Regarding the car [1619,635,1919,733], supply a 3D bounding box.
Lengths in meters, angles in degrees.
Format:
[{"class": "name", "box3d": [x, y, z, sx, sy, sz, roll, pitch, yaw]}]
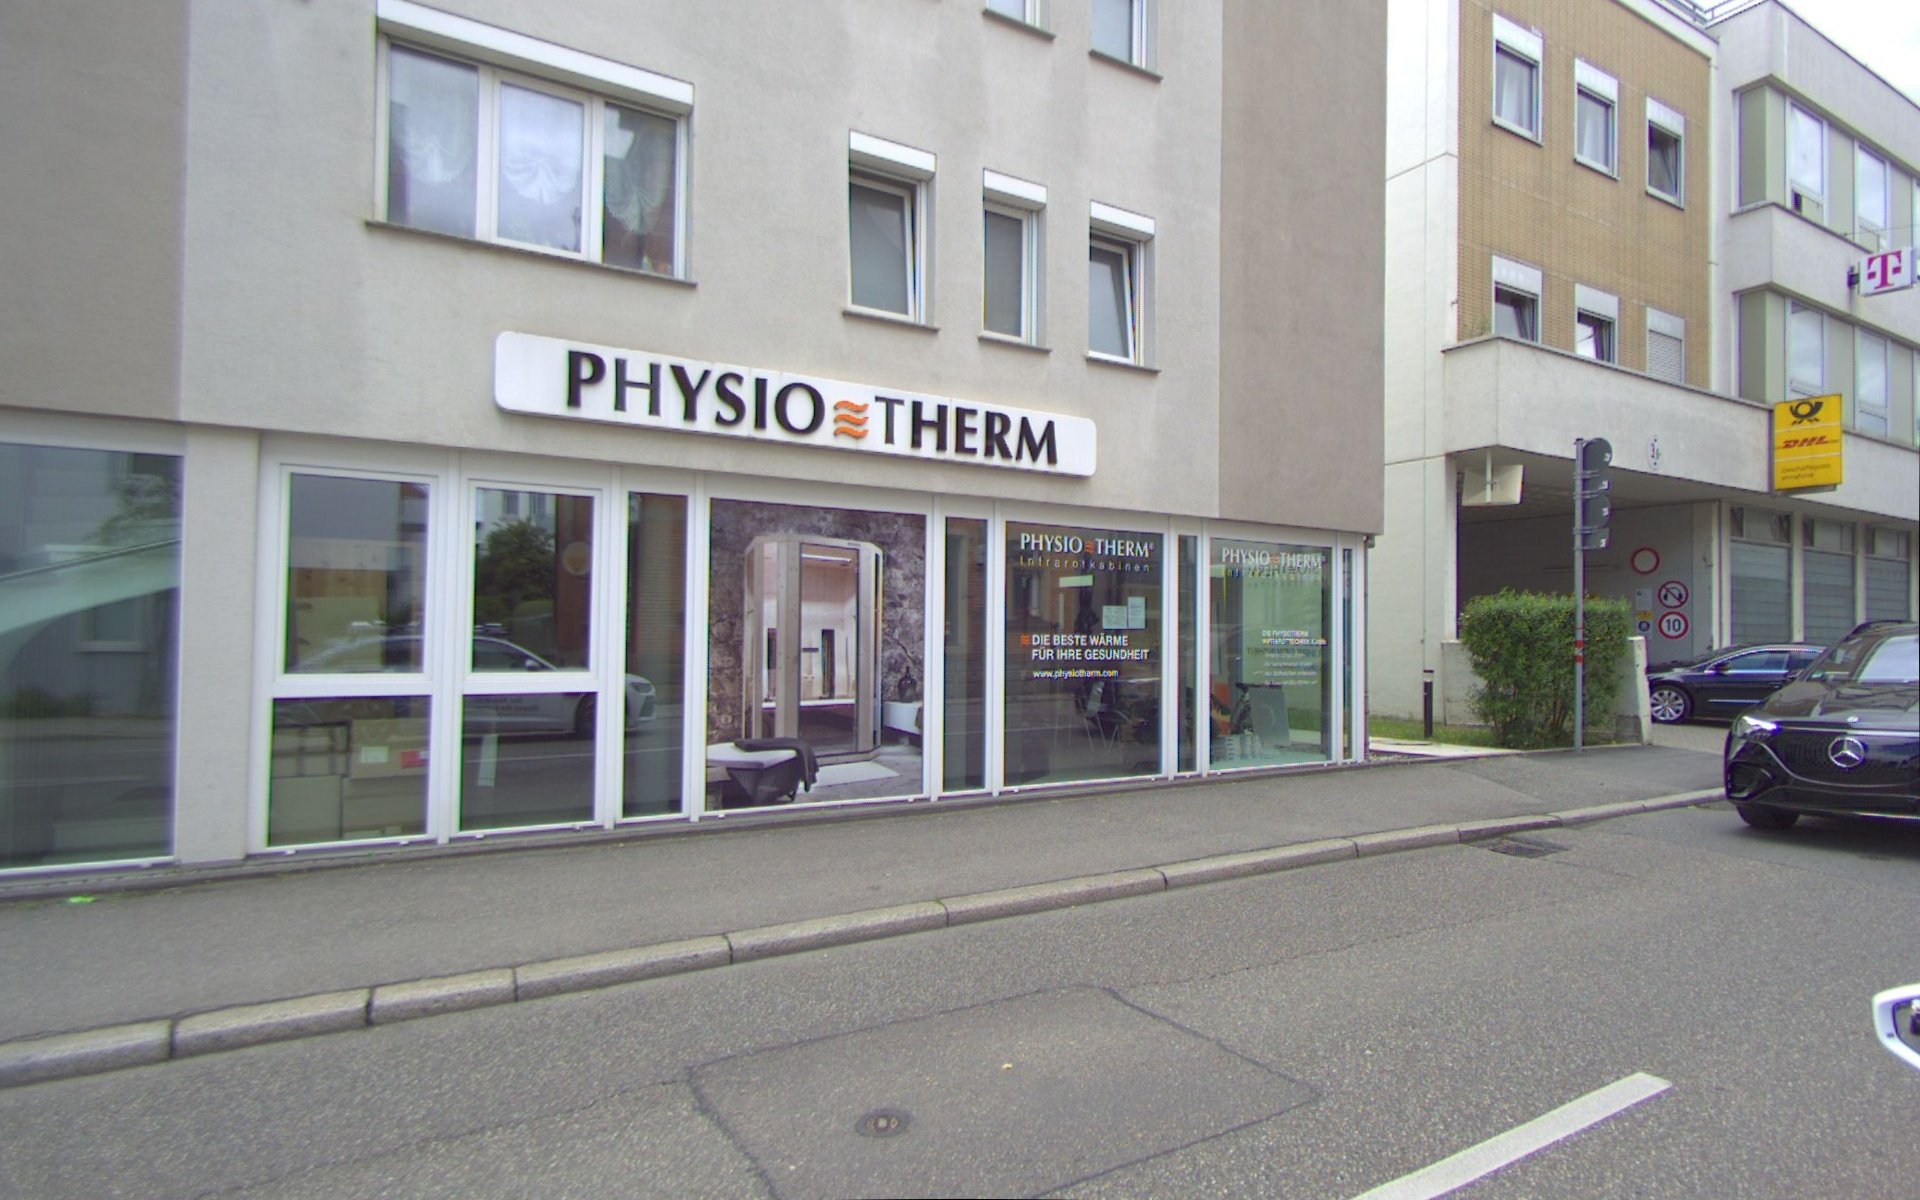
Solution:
[{"class": "car", "box3d": [13.282, 1.279, 16.198, 4.335, 1.384, 1.782, 0, -2, 31]}]

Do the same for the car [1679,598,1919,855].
[{"class": "car", "box3d": [8.279, 0.933, 8.437, 4.501, 1.761, 1.984, 1, -3, -31]}]
